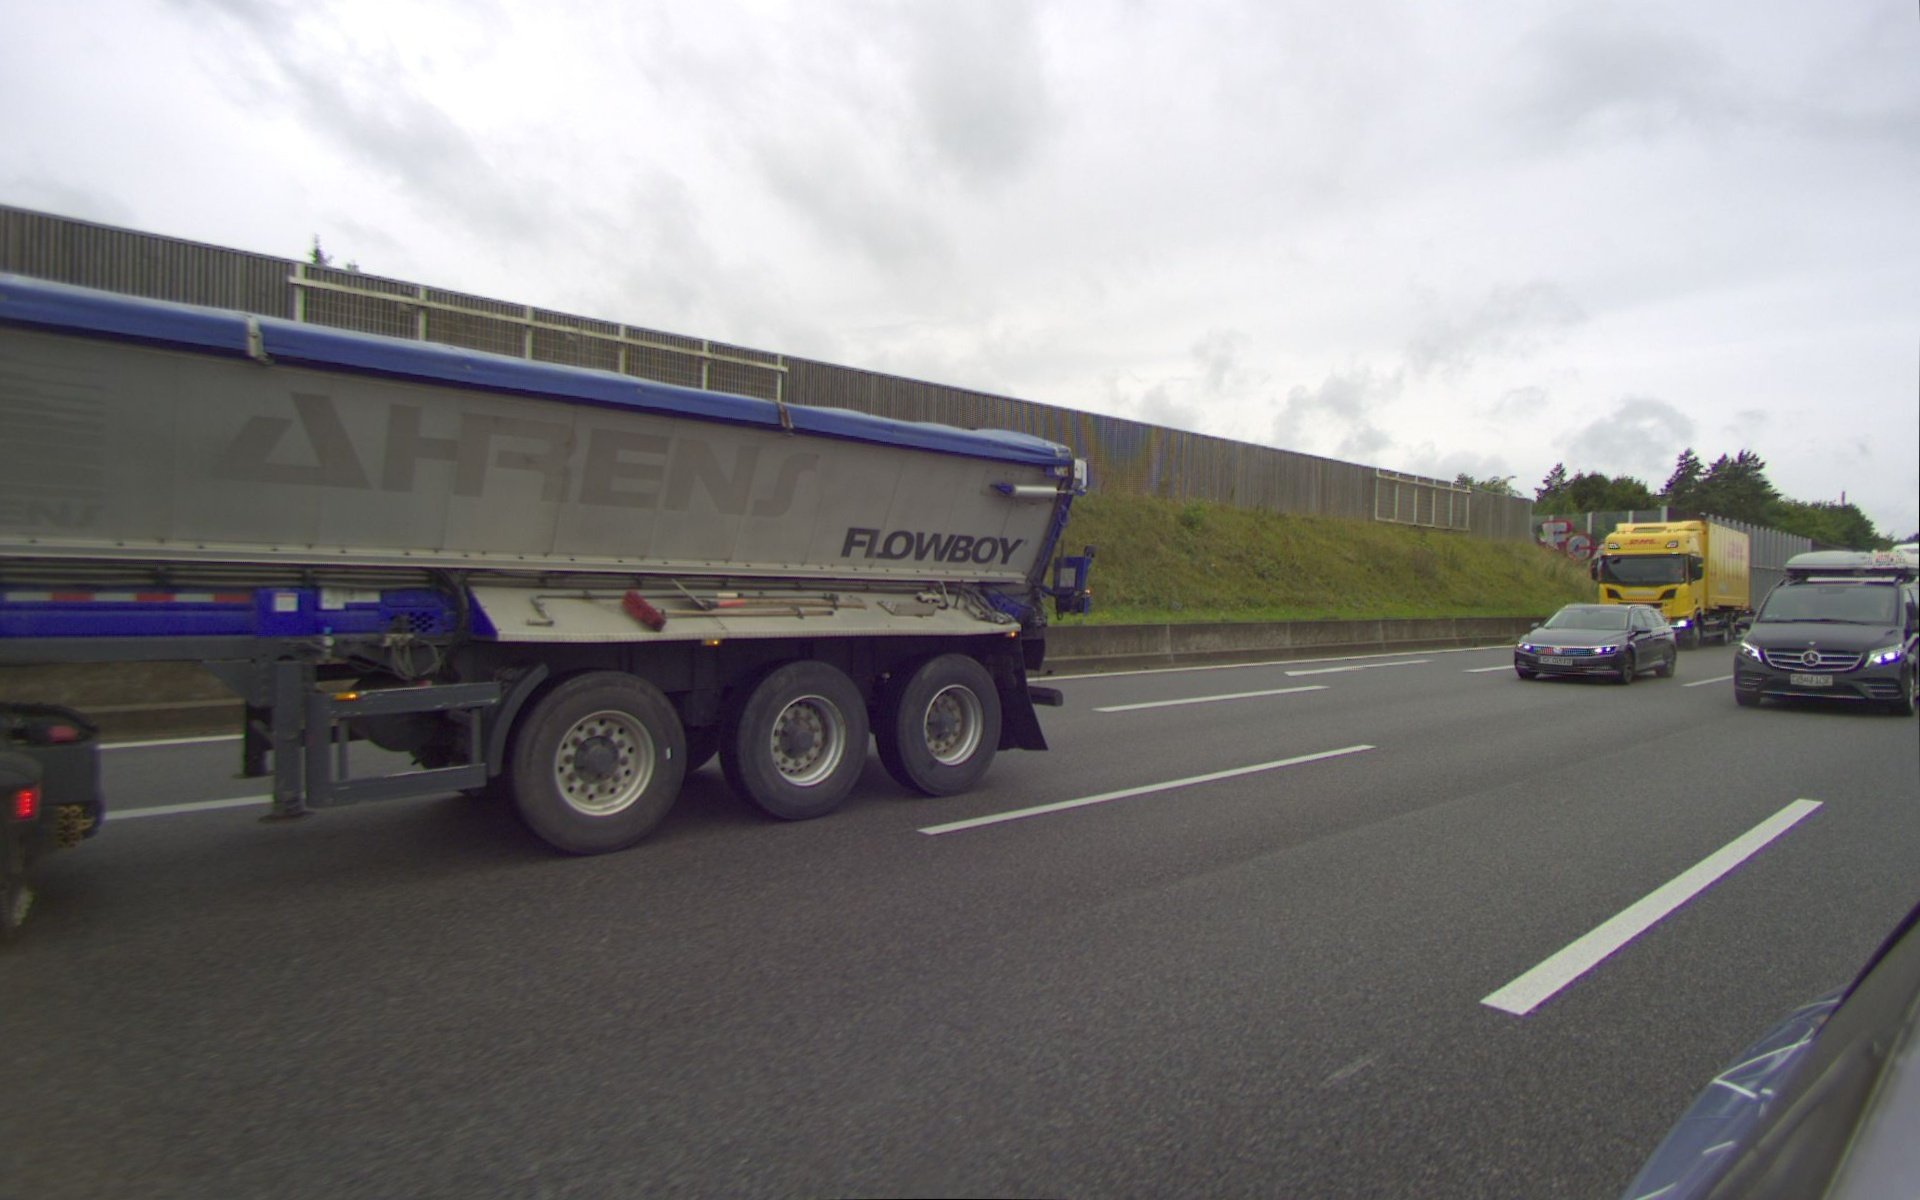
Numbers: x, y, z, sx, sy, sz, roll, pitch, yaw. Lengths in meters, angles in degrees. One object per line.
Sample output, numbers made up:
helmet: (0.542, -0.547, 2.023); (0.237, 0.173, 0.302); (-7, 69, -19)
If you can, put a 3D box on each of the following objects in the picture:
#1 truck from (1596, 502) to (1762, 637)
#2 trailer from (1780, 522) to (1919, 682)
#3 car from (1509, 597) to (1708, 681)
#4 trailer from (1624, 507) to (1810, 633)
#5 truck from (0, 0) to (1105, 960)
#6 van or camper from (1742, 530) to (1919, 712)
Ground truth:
truck: (24.356, -0.926, 34.039); (9.168, 4.008, 2.689); (0, 0, -43)
trailer: (18.485, 0.023, 19.744); (7.382, 2.675, 2.725); (0, 1, -42)
car: (12.835, 0.685, 19.873); (5.197, 1.445, 1.943); (0, -1, -41)
trailer: (29.189, -0.987, 38.454); (16.402, 4.003, 2.654); (0, 0, -43)
truck: (-4.423, -0.612, 5.250); (12.492, 4.000, 2.817); (0, 1, -41)
van or camper: (13.680, 0.269, 15.344); (5.581, 2.298, 1.893); (0, 0, -42)
